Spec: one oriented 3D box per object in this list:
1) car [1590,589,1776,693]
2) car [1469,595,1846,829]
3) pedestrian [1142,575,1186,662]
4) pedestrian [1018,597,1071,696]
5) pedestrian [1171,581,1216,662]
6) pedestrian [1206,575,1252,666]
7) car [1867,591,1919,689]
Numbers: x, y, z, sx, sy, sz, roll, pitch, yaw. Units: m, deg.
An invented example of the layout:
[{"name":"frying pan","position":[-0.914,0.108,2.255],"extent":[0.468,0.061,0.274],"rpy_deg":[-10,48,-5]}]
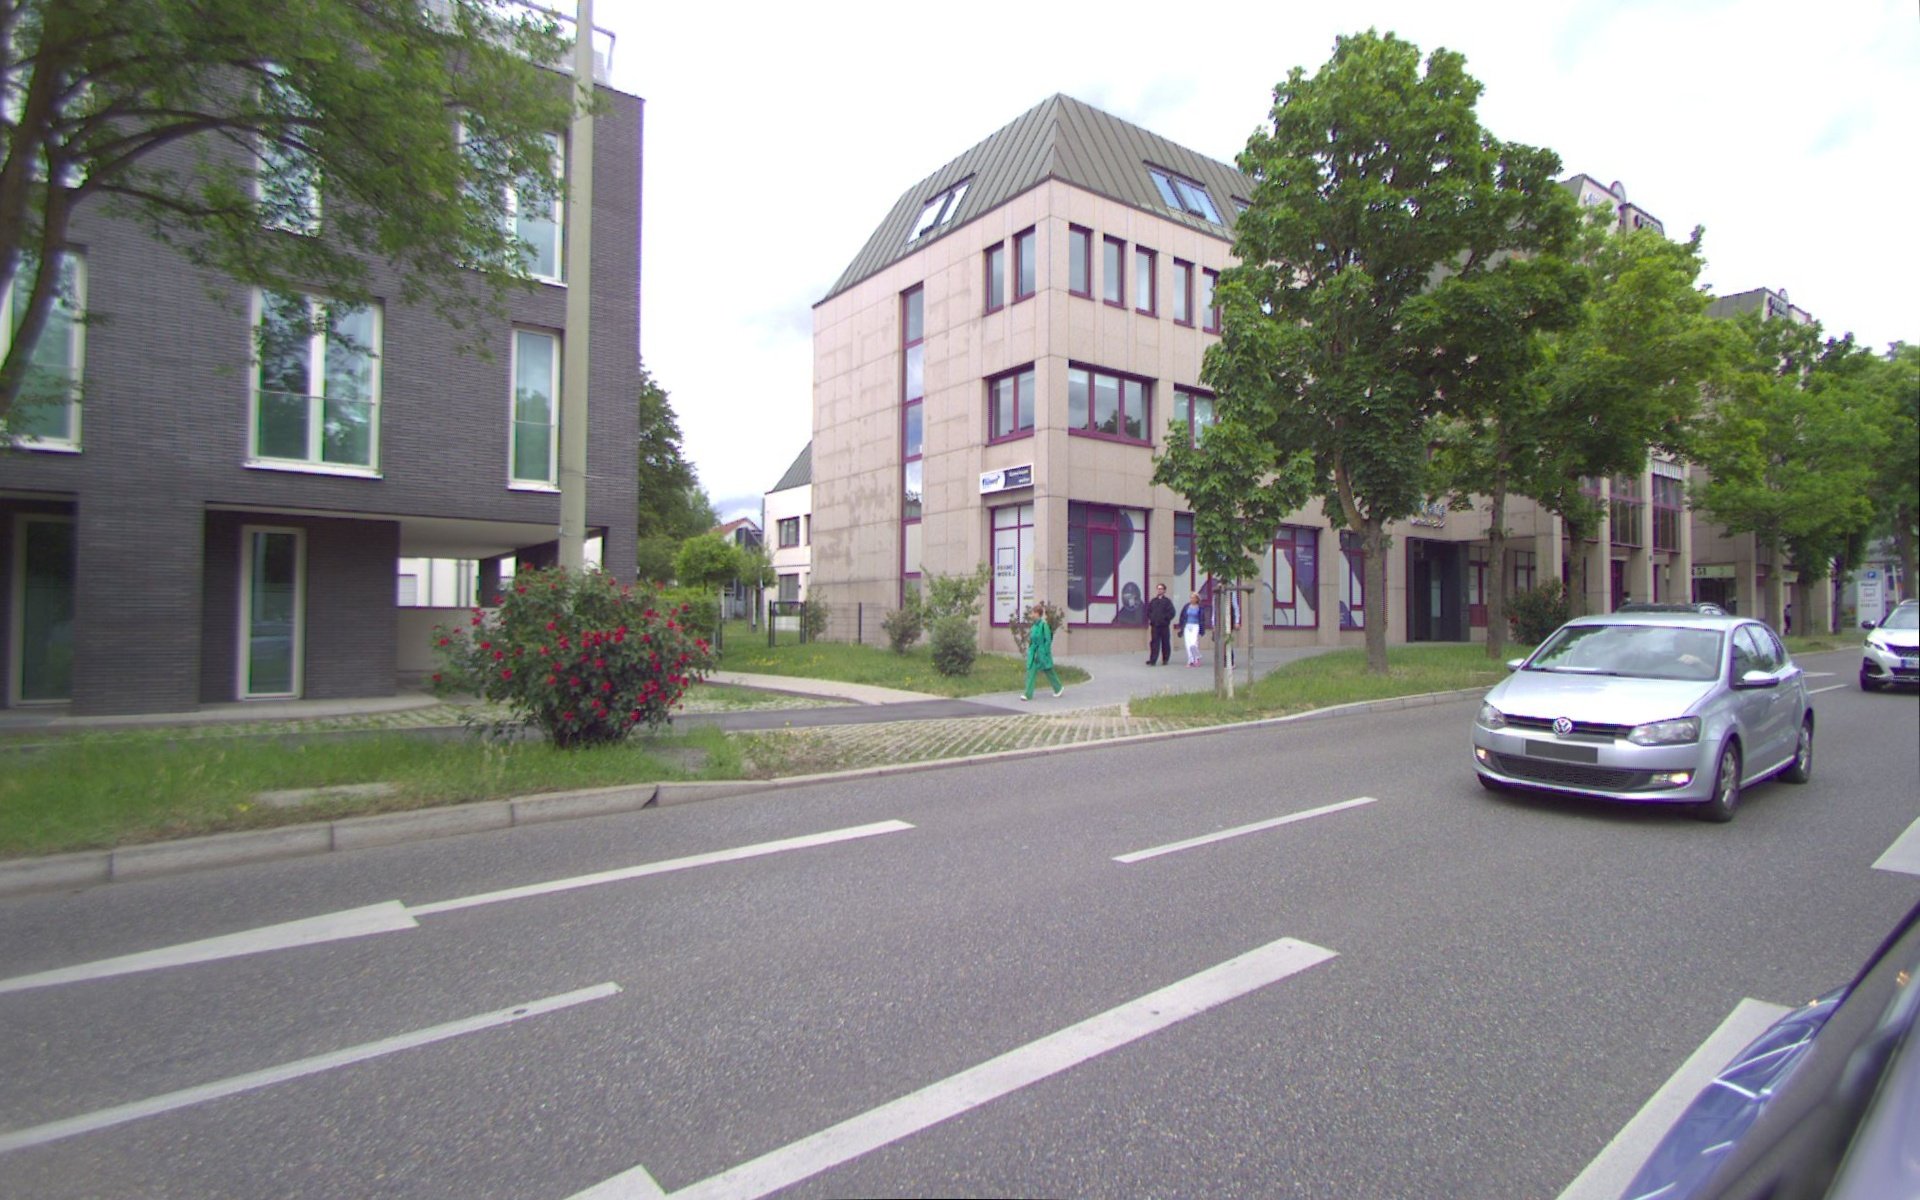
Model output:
[{"name":"car","position":[12.165,0.597,16.945],"extent":[3.930,1.531,1.660],"rpy_deg":[-1,0,-41]},{"name":"car","position":[5.767,0.711,8.226],"extent":[3.610,1.487,1.608],"rpy_deg":[0,-1,-40]},{"name":"pedestrian","position":[4.369,0.395,21.697],"extent":[0.665,1.828,0.642],"rpy_deg":[0,-1,-41]},{"name":"pedestrian","position":[1.371,0.729,16.365],"extent":[0.665,1.537,0.496],"rpy_deg":[0,2,-41]},{"name":"pedestrian","position":[4.898,0.438,21.242],"extent":[0.665,1.668,0.642],"rpy_deg":[0,-1,-41]},{"name":"pedestrian","position":[5.499,0.413,20.707],"extent":[0.665,1.828,0.642],"rpy_deg":[0,-1,-41]},{"name":"car","position":[17.612,0.662,17.864],"extent":[4.238,1.616,1.858],"rpy_deg":[0,1,-41]}]
